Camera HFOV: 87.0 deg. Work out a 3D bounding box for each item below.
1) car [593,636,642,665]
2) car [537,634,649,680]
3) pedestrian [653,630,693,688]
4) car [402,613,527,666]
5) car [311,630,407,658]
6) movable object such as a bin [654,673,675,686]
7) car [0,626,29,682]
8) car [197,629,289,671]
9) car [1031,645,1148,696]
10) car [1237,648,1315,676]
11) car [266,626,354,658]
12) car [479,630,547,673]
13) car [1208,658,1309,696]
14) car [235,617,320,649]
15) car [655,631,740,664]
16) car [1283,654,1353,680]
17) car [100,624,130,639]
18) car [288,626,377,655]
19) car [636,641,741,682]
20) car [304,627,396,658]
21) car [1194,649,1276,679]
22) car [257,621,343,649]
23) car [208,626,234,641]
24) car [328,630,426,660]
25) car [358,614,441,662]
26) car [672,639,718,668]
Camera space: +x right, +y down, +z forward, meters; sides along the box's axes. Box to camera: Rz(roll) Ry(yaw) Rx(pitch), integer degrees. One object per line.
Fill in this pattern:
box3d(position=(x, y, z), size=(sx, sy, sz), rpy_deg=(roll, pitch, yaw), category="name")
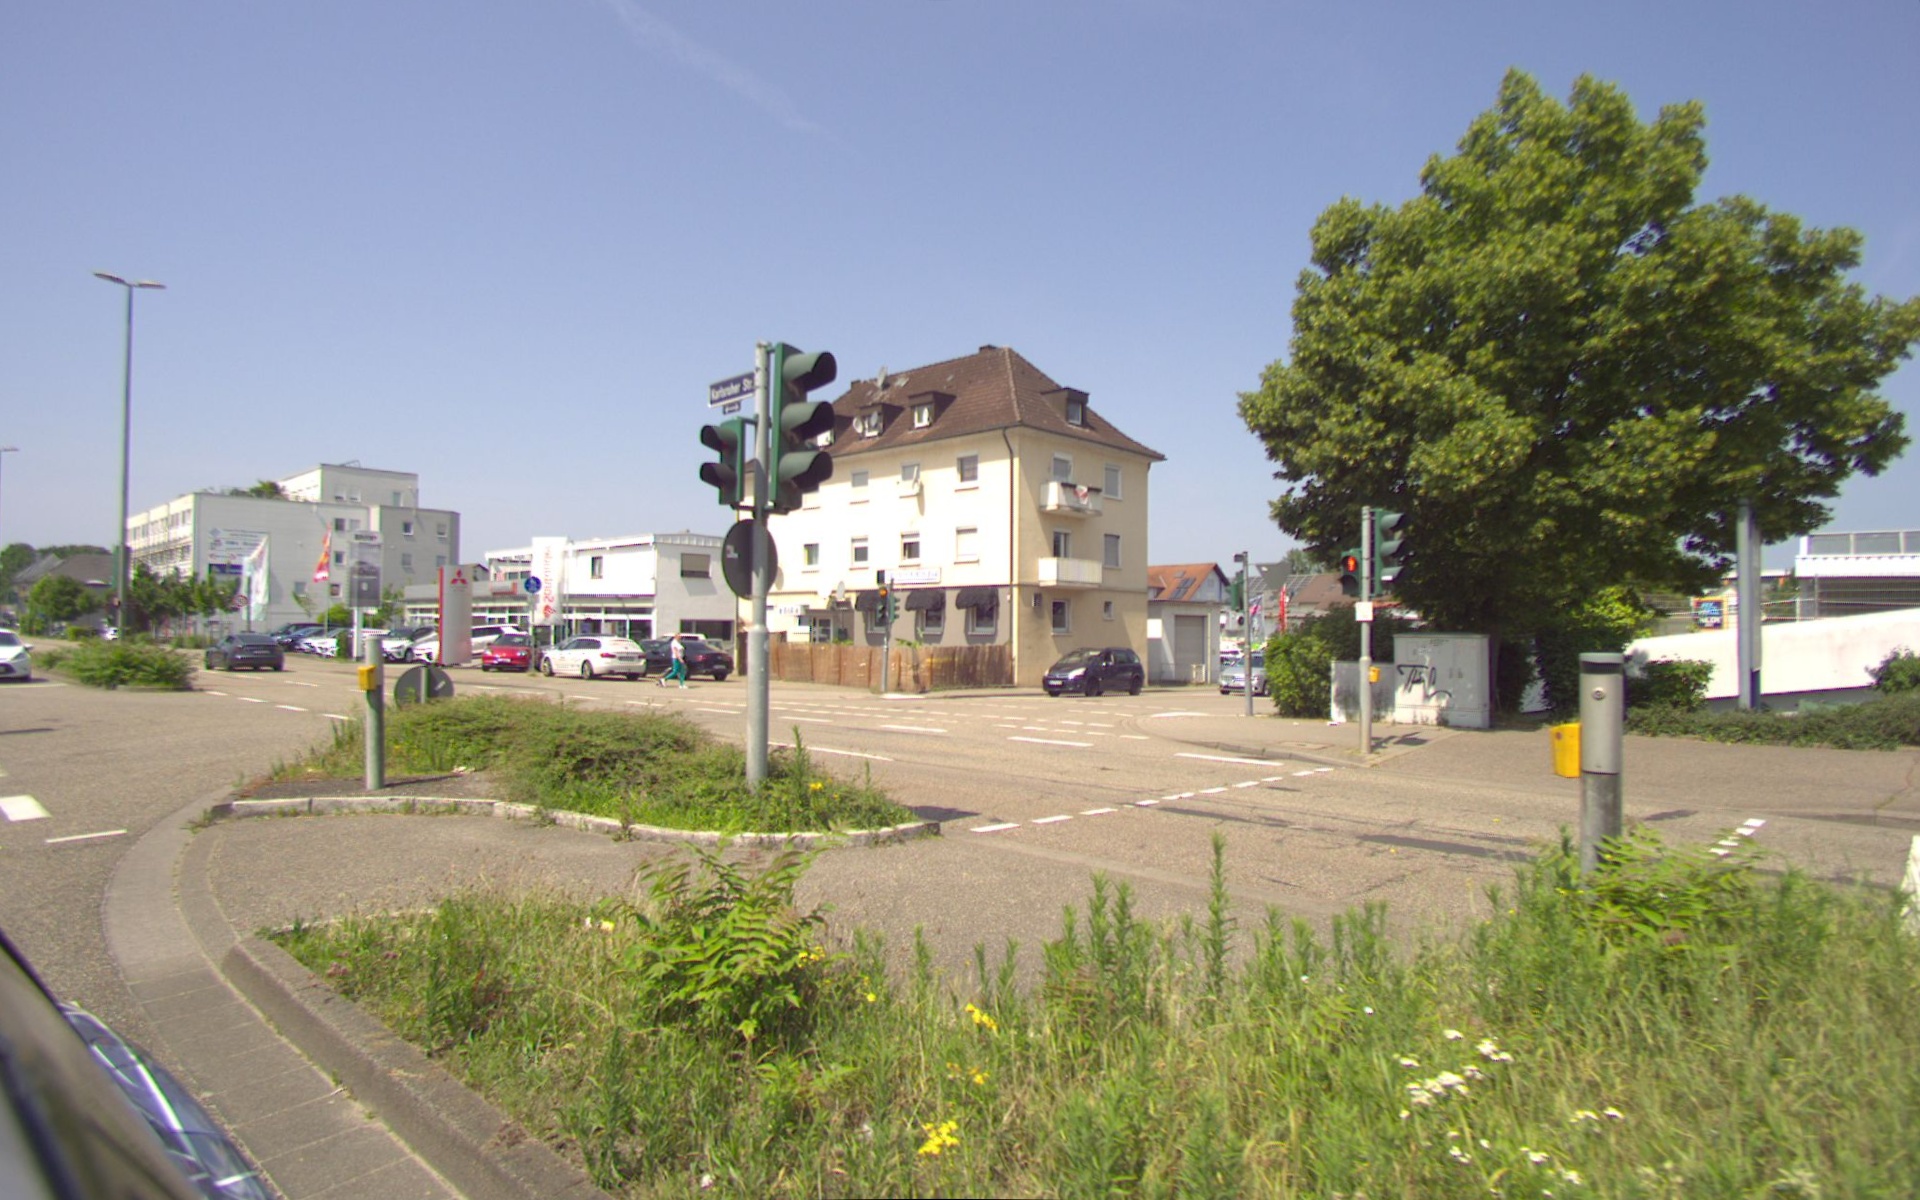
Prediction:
box3d(position=(-16.135, 2.340, 47.632), size=(1.622, 1.261, 4.013), rpy_deg=(2, -2, -27), category="car")
box3d(position=(-12.782, 1.955, 35.100), size=(4.761, 1.421, 1.756), rpy_deg=(-1, -4, 45), category="car")
box3d(position=(-8.875, 1.800, 31.290), size=(1.034, 1.760, 0.732), rpy_deg=(-1, -3, 45), category="pedestrian")
box3d(position=(-21.731, 1.688, 44.516), size=(1.759, 1.721, 4.500), rpy_deg=(-1, 5, 42), category="car")
box3d(position=(-31.765, 2.326, 53.571), size=(1.859, 1.405, 3.945), rpy_deg=(-1, -2, 41), category="car")
box3d(position=(-9.167, 2.474, 31.403), size=(0.506, 0.375, 0.412), rpy_deg=(-1, -2, 44), category="movable object such as a bin")
box3d(position=(-26.509, 1.432, 27.341), size=(3.711, 1.445, 1.670), rpy_deg=(-1, -2, 43), category="car")
box3d(position=(-28.005, 1.915, 39.477), size=(4.501, 1.497, 1.972), rpy_deg=(-1, -2, 42), category="car")
box3d(position=(4.440, 2.364, 34.482), size=(3.939, 1.624, 1.871), rpy_deg=(3, -3, -43), category="car")
box3d(position=(17.481, 3.396, 56.085), size=(1.733, 1.479, 3.741), rpy_deg=(3, -3, -44), category="car")
box3d(position=(-38.110, 2.469, 59.399), size=(1.759, 1.621, 3.945), rpy_deg=(-1, -6, 41), category="car")
box3d(position=(-18.394, 2.075, 41.798), size=(1.809, 1.655, 4.189), rpy_deg=(1, -2, -13), category="car")
box3d(position=(11.045, 2.796, 37.333), size=(3.939, 1.243, 1.871), rpy_deg=(3, -3, -43), category="car")
box3d(position=(-42.554, 2.066, 63.148), size=(1.999, 1.896, 3.945), rpy_deg=(-1, -2, 41), category="car")
box3d(position=(-13.656, 2.467, 52.759), size=(1.865, 1.627, 3.944), rpy_deg=(-1, -2, 42), category="car")
box3d(position=(22.047, 4.121, 62.400), size=(1.733, 1.479, 3.741), rpy_deg=(3, -3, -44), category="car")
box3d(position=(-81.088, 3.013, 97.067), size=(3.664, 1.460, 1.673), rpy_deg=(-1, -1, 41), category="car")
box3d(position=(-35.615, 2.322, 57.515), size=(1.759, 1.580, 3.945), rpy_deg=(-1, -3, 41), category="car")
box3d(position=(-9.906, 2.184, 36.824), size=(3.997, 1.361, 1.715), rpy_deg=(-1, -2, 40), category="car")
box3d(position=(-33.602, 2.317, 55.797), size=(1.926, 1.621, 3.942), rpy_deg=(-1, -2, 44), category="car")
box3d(position=(14.830, 3.437, 54.780), size=(4.002, 1.464, 1.670), rpy_deg=(-1, -3, 45), category="car")
box3d(position=(-40.163, 2.152, 61.632), size=(2.088, 1.621, 3.945), rpy_deg=(-1, -3, 41), category="car")
box3d(position=(-67.638, 3.036, 92.629), size=(2.834, 1.350, 1.436), rpy_deg=(-1, -2, 45), category="car")
box3d(position=(-29.736, 2.290, 51.697), size=(1.759, 1.478, 3.945), rpy_deg=(-1, -2, 41), category="car")
box3d(position=(-27.728, 1.859, 50.233), size=(1.736, 1.634, 4.001), rpy_deg=(1, 8, 2), category="car")
box3d(position=(-12.605, 2.510, 47.975), size=(1.622, 1.261, 4.013), rpy_deg=(2, -2, -21), category="car")
